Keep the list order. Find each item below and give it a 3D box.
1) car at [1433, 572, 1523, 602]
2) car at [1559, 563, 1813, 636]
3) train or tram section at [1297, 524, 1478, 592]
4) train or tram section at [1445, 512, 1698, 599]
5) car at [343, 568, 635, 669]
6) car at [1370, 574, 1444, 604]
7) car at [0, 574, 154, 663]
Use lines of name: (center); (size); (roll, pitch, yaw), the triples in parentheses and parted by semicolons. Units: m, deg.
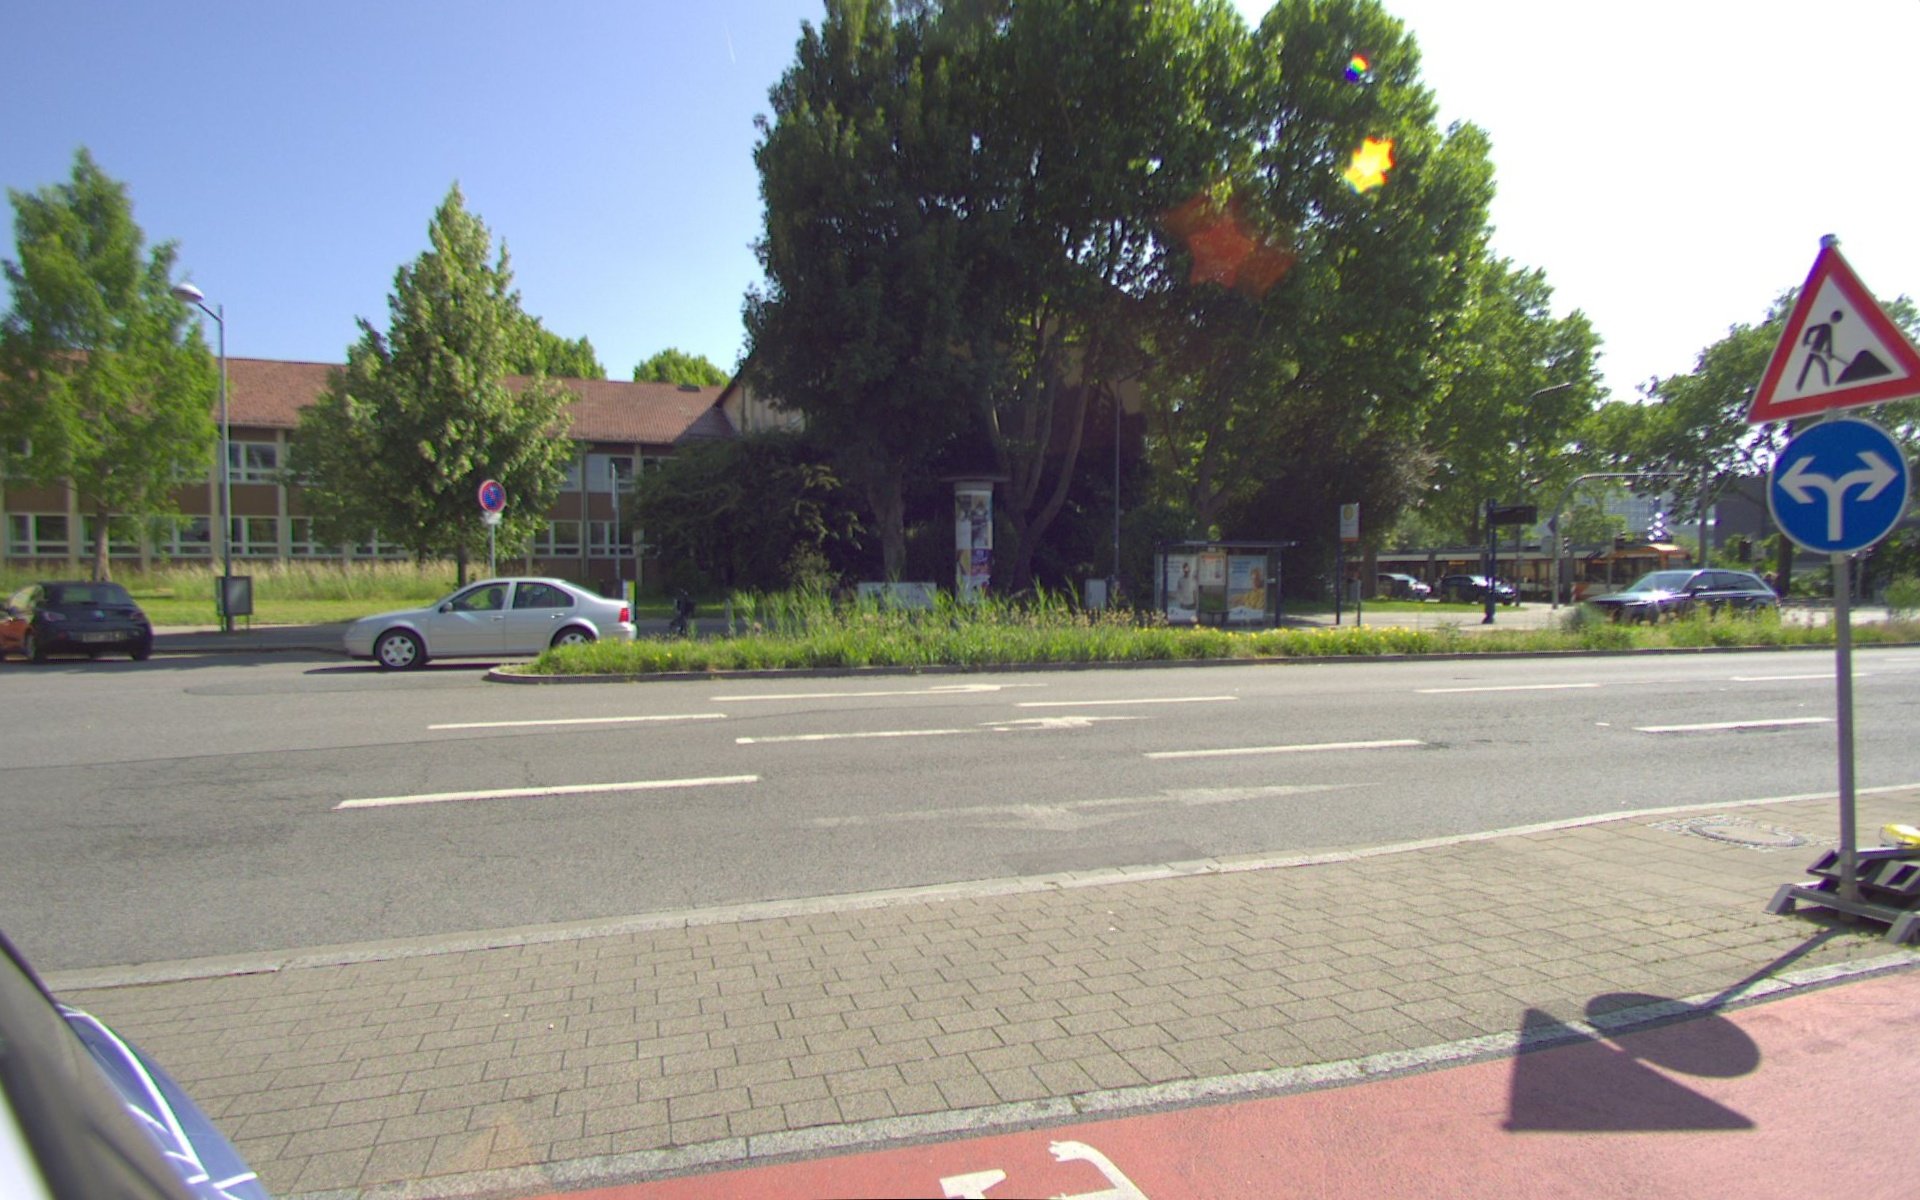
car: (27.613, -0.661, 54.060); (1.836, 1.524, 4.013); (0, 0, -24)
car: (17.402, -0.027, 24.280); (5.562, 1.623, 2.006); (-1, -1, -18)
train or tram section: (30.930, -2.954, 74.776); (2.288, 4.523, 15.977); (0, 1, -18)
train or tram section: (35.636, -2.504, 60.421); (2.288, 4.523, 14.992); (0, 1, -18)
car: (-7.432, 0.246, 16.388); (4.088, 1.495, 1.746); (-1, 1, -18)
car: (26.492, -0.647, 60.101); (1.837, 1.702, 4.012); (0, 0, -16)
car: (-16.619, 0.317, 18.694); (4.219, 1.470, 1.720); (-1, 0, 37)
